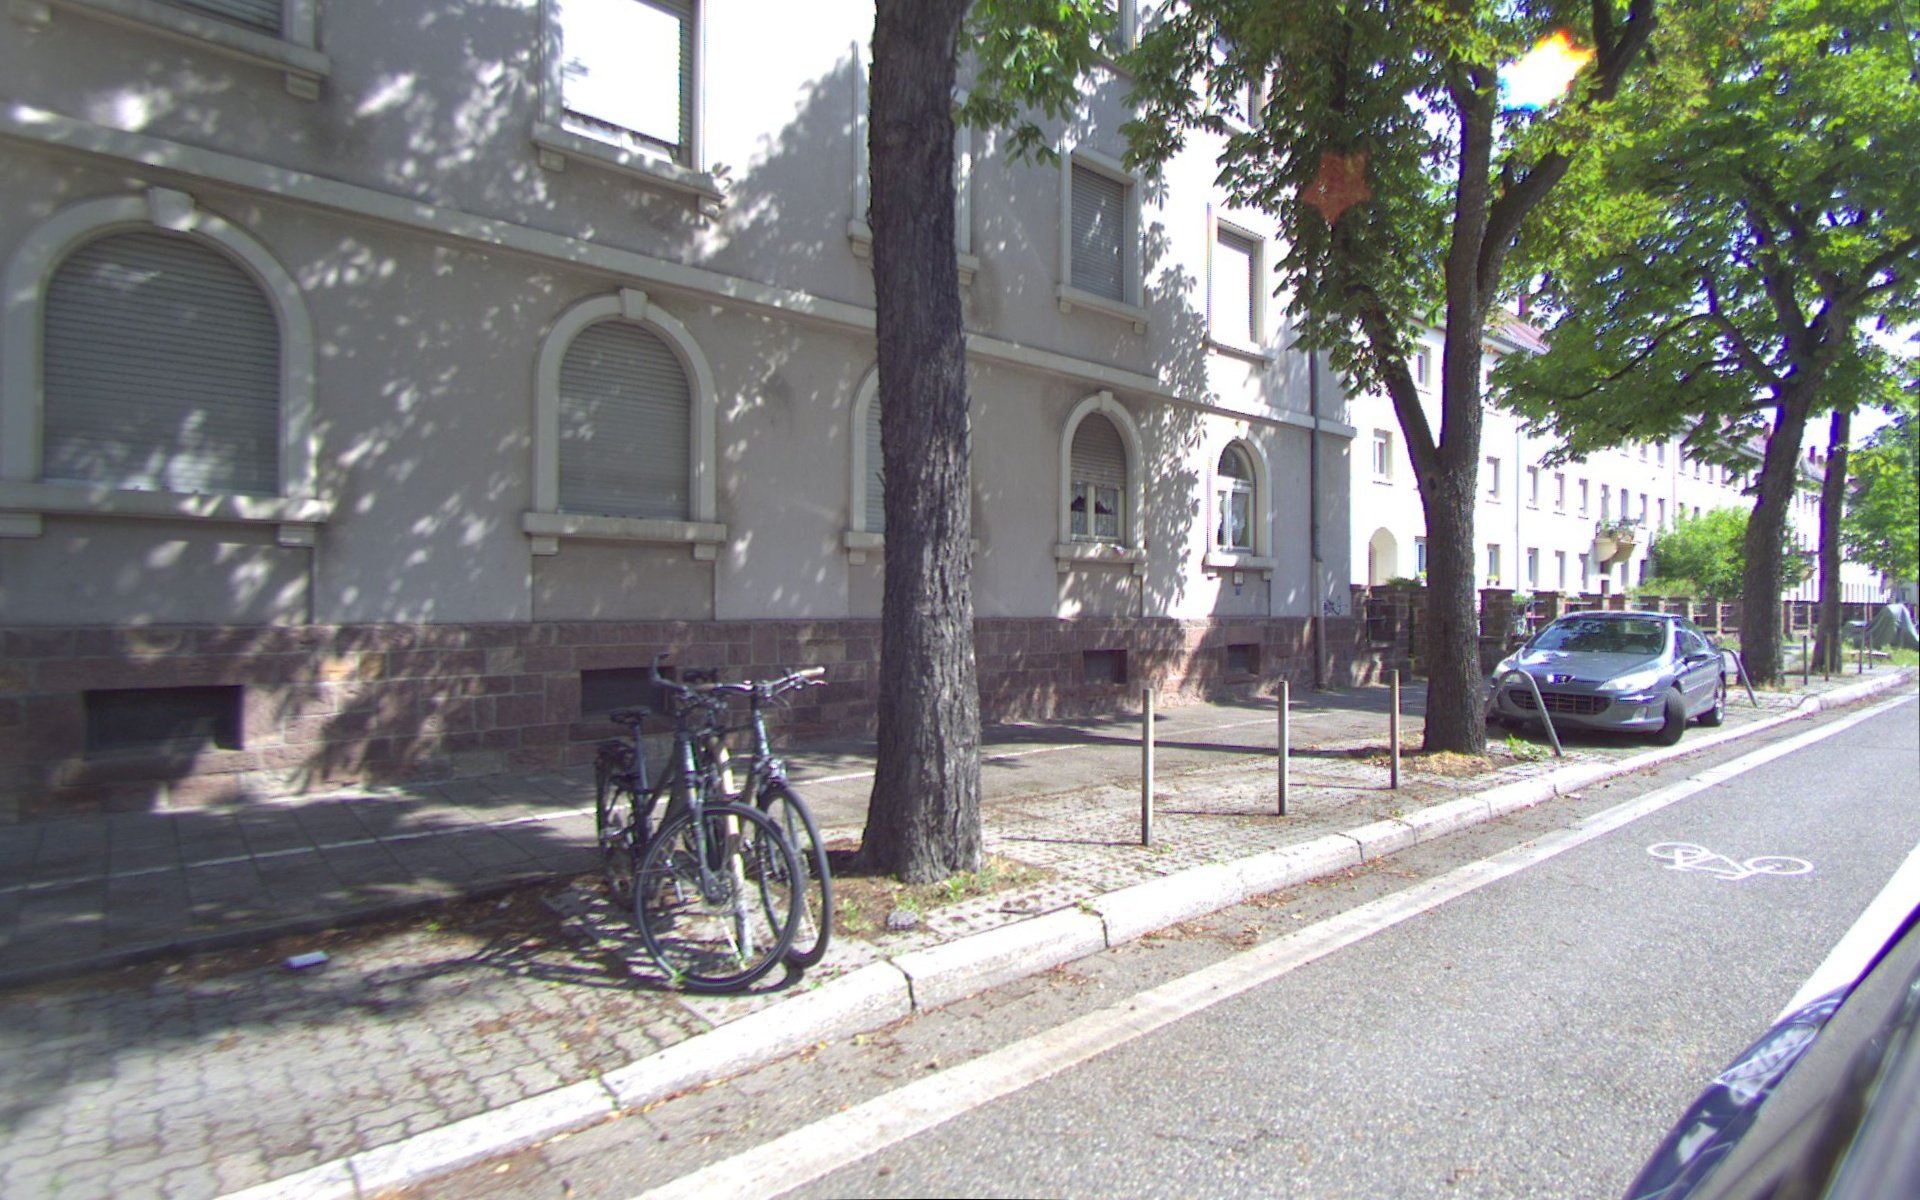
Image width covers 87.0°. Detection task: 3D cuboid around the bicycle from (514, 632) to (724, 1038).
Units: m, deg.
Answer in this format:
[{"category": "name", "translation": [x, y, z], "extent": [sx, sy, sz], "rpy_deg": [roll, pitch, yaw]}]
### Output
[{"category": "bicycle", "translation": [-1.482, 0.779, 4.176], "extent": [0.503, 1.190, 1.903], "rpy_deg": [0, 1, -28]}]

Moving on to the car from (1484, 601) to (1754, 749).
[{"category": "car", "translation": [8.245, 0.766, 12.493], "extent": [4.322, 1.427, 1.848], "rpy_deg": [0, 2, -44]}]

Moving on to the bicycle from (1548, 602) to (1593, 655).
[{"category": "bicycle", "translation": [14.584, 0.655, 24.169], "extent": [1.674, 1.227, 0.413], "rpy_deg": [0, -1, -40]}]

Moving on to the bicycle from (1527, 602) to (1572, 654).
[{"category": "bicycle", "translation": [14.269, 0.662, 24.492], "extent": [1.674, 1.227, 0.413], "rpy_deg": [0, -1, -40]}]

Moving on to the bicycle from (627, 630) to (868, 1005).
[{"category": "bicycle", "translation": [-1.020, 0.775, 4.445], "extent": [0.503, 1.190, 1.946], "rpy_deg": [0, 1, -28]}]

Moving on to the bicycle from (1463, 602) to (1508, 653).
[{"category": "bicycle", "translation": [13.195, 0.675, 25.393], "extent": [1.674, 1.227, 0.413], "rpy_deg": [0, -1, -40]}]

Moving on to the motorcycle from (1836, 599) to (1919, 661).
[{"category": "motorcycle", "translation": [25.247, 0.785, 27.652], "extent": [0.666, 1.617, 2.384], "rpy_deg": [0, 0, 4]}]

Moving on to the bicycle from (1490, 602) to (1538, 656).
[{"category": "bicycle", "translation": [12.847, 0.651, 23.460], "extent": [1.674, 1.227, 0.413], "rpy_deg": [0, -1, -40]}]

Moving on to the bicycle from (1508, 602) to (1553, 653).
[{"category": "bicycle", "translation": [13.995, 0.657, 24.818], "extent": [1.674, 1.227, 0.413], "rpy_deg": [0, -1, -40]}]
